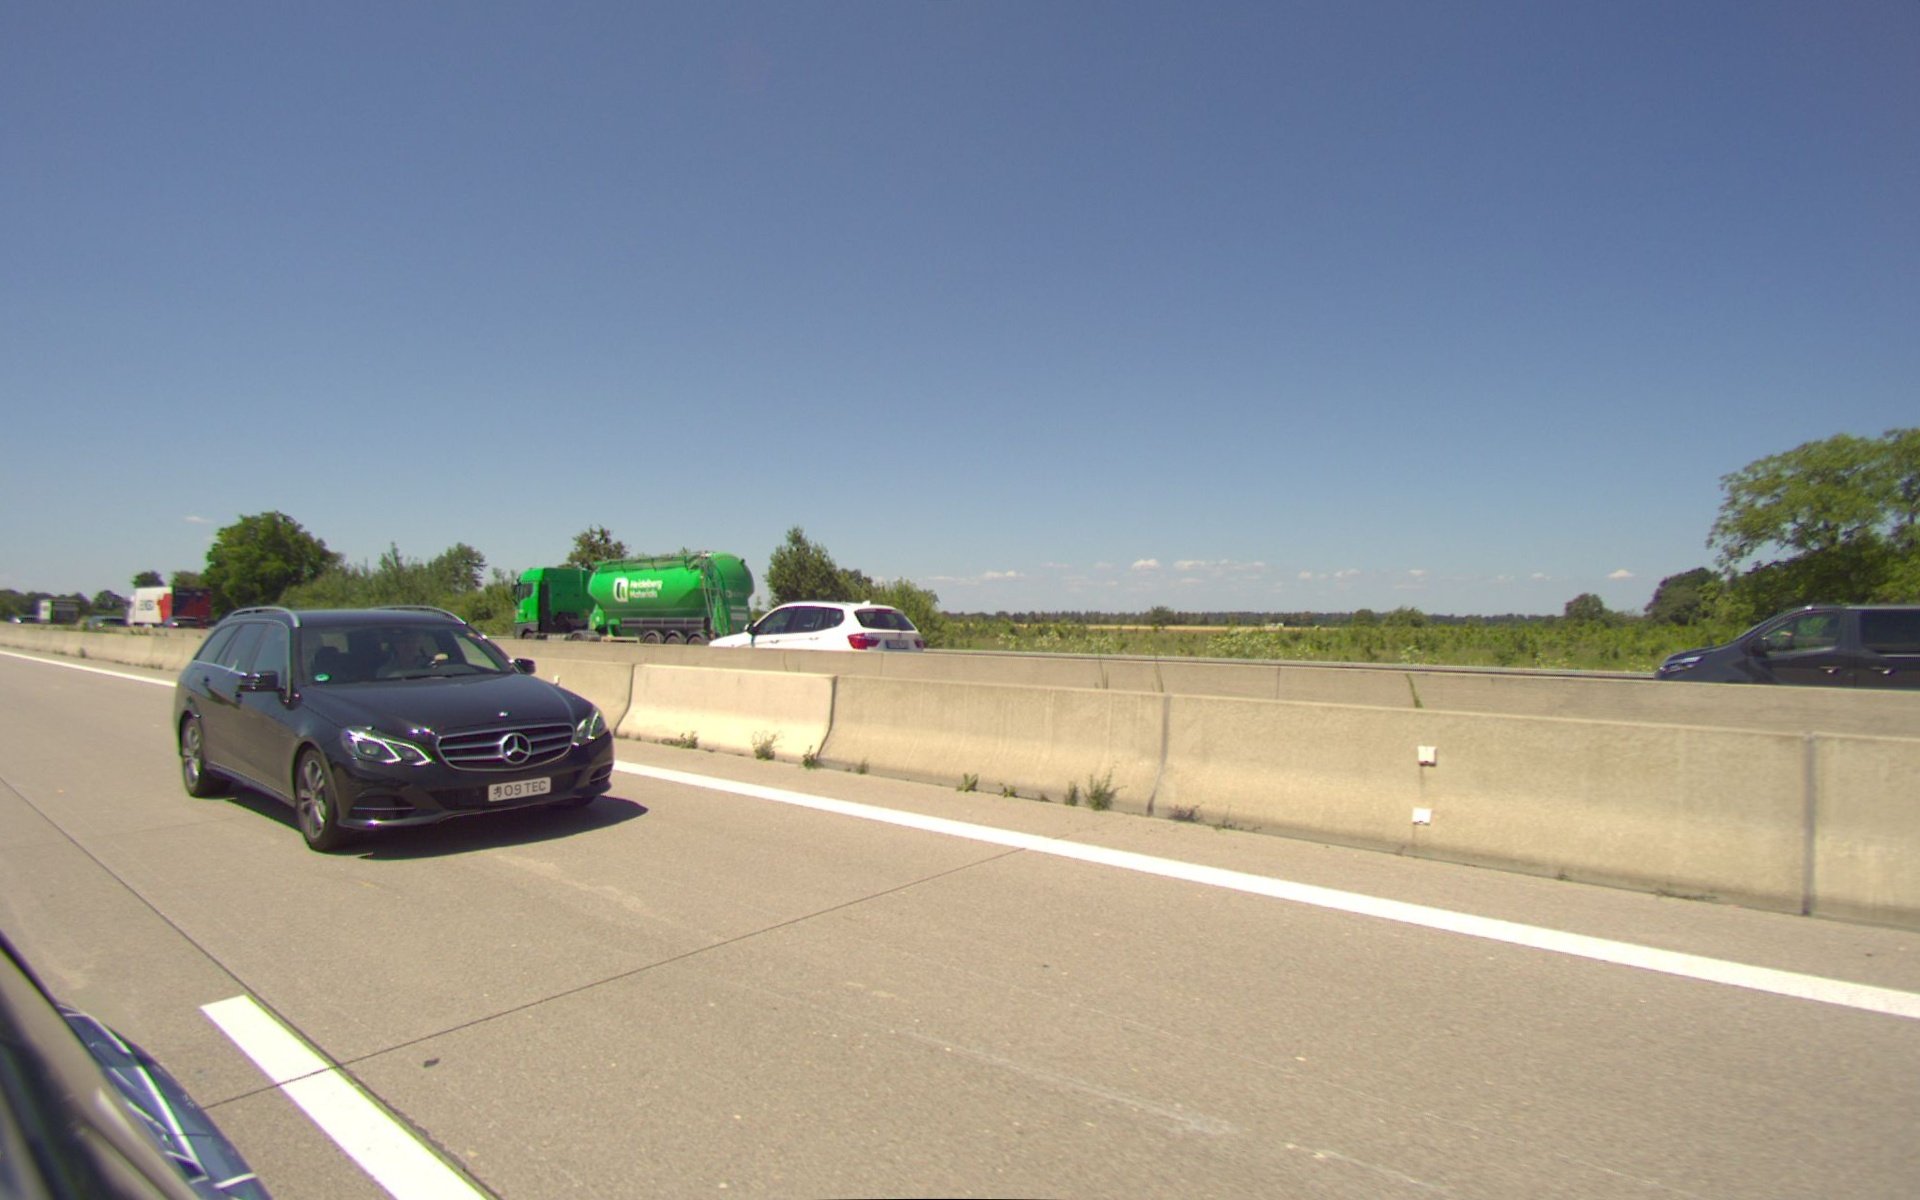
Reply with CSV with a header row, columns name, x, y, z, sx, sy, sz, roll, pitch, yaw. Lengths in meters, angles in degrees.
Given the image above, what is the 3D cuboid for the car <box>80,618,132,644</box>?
name,x,y,z,sx,sy,sz,roll,pitch,yaw
car,-49.289,1.775,58.398,3.806,1.411,1.698,-1,-1,41

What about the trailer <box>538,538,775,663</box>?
name,x,y,z,sx,sy,sz,roll,pitch,yaw
trailer,-11.195,0.095,36.341,11.100,3.907,2.706,-1,-2,41

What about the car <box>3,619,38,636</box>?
name,x,y,z,sx,sy,sz,roll,pitch,yaw
car,-77.151,2.233,83.083,3.806,1.411,1.722,-1,-1,41

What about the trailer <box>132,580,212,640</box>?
name,x,y,z,sx,sy,sz,roll,pitch,yaw
trailer,-64.575,0.905,82.762,13.228,4.572,2.773,-1,-2,41

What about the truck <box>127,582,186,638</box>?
name,x,y,z,sx,sy,sz,roll,pitch,yaw
truck,-68.439,0.876,86.128,6.658,4.572,2.773,-1,-2,41

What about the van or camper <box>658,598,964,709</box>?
name,x,y,z,sx,sy,sz,roll,pitch,yaw
van or camper,-2.848,0.884,18.253,5.847,1.705,2.218,-1,-2,41

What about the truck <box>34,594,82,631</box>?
name,x,y,z,sx,sy,sz,roll,pitch,yaw
truck,-106.556,1.472,119.574,8.124,4.206,3.198,-1,-2,41

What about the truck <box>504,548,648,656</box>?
name,x,y,z,sx,sy,sz,roll,pitch,yaw
truck,-15.177,0.143,39.848,6.201,3.912,2.715,-1,-2,41

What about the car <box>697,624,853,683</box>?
name,x,y,z,sx,sy,sz,roll,pitch,yaw
car,-4.612,1.270,24.969,3.998,1.343,1.678,-1,-2,41

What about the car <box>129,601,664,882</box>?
name,x,y,z,sx,sy,sz,roll,pitch,yaw
car,-4.700,0.799,7.917,5.600,1.484,1.871,-1,-1,41

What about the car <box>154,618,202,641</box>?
name,x,y,z,sx,sy,sz,roll,pitch,yaw
car,-50.206,1.894,64.934,4.543,1.411,1.607,-1,-1,41

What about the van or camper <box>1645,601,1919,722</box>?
name,x,y,z,sx,sy,sz,roll,pitch,yaw
van or camper,13.692,0.851,14.608,6.087,1.634,2.341,-1,-2,40
